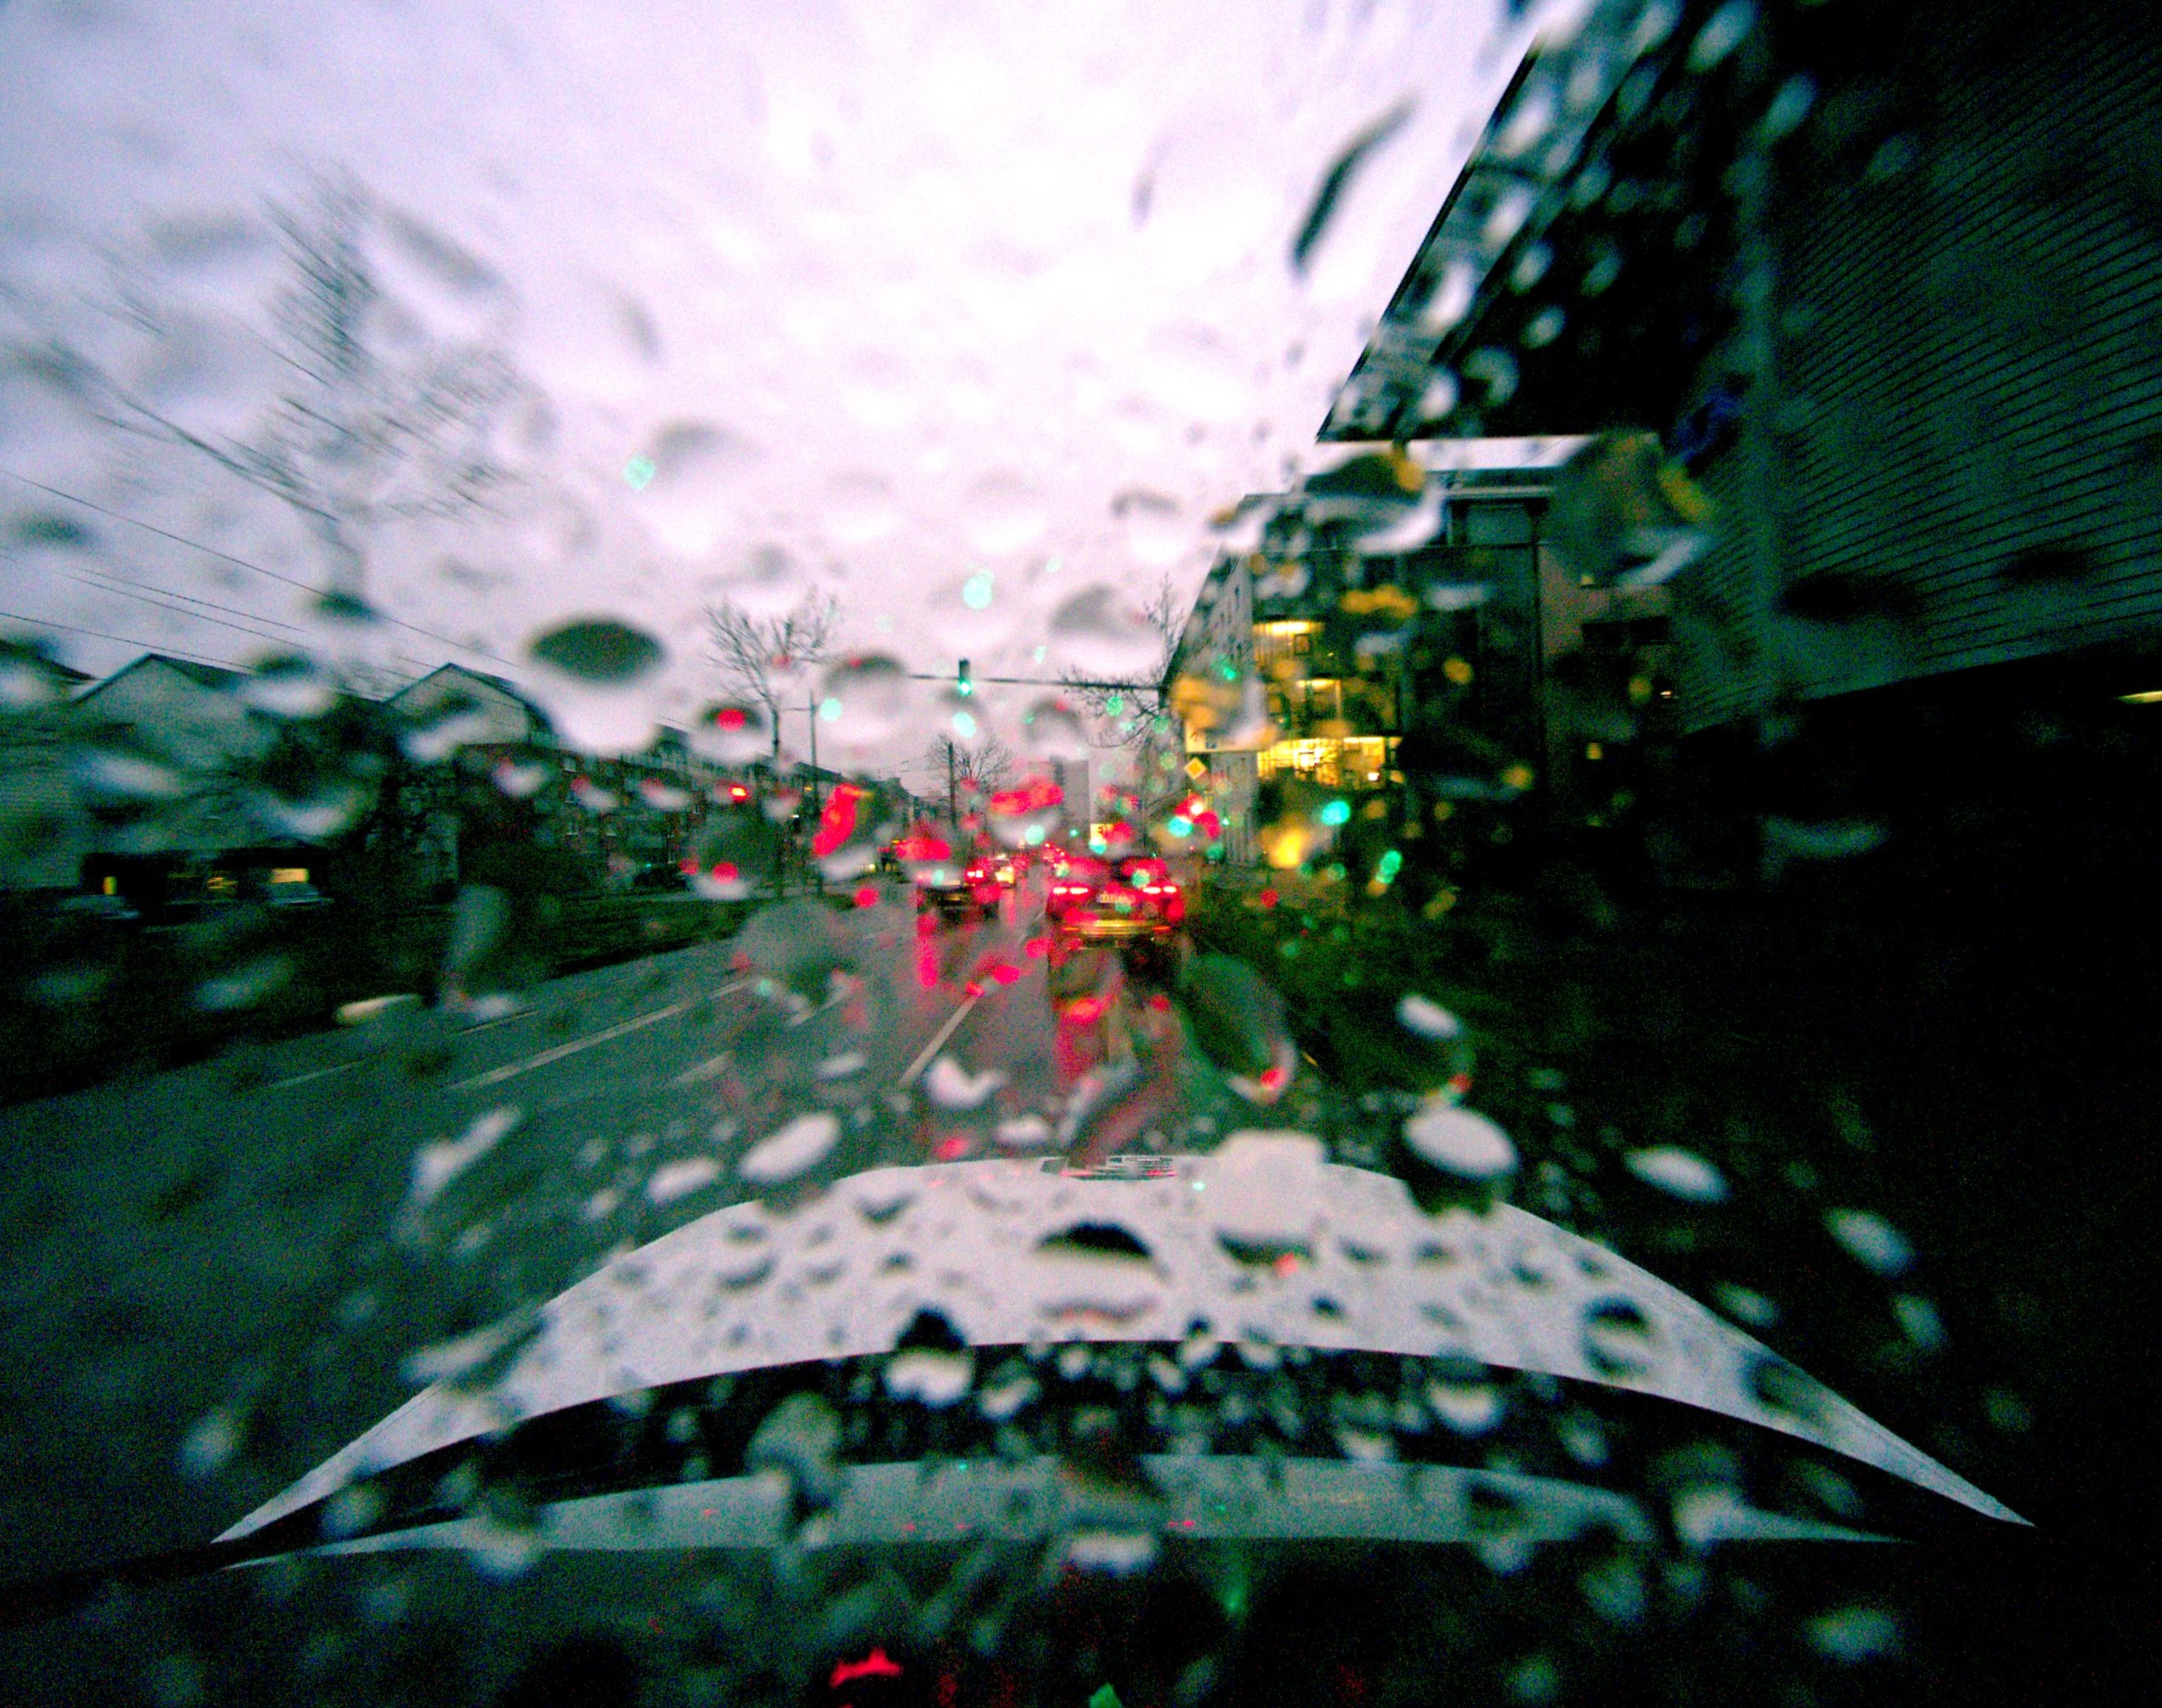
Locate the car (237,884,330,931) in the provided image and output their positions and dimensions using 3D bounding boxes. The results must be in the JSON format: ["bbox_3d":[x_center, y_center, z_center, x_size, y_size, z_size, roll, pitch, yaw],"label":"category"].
[{"bbox_3d":[-30.459,2.000,31.090,3.749,1.555,1.753,0,0,33],"label":"car"}]

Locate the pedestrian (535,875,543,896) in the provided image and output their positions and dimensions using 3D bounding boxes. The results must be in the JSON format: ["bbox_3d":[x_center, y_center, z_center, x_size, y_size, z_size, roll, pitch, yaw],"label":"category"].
[{"bbox_3d":[-31.608,1.838,47.509,0.348,1.184,0.429,0,0,-40],"label":"pedestrian"}]

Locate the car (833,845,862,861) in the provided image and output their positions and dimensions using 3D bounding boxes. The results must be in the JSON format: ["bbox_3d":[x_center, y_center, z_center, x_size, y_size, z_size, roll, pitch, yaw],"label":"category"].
[{"bbox_3d":[-20.100,-0.103,70.210,1.440,1.342,3.636,0,0,0],"label":"car"}]

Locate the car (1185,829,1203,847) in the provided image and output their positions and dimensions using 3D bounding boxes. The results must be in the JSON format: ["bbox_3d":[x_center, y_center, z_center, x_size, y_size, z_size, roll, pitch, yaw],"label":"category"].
[{"bbox_3d":[11.150,-1.580,80.381,1.619,1.759,3.427,0,0,5],"label":"car"}]

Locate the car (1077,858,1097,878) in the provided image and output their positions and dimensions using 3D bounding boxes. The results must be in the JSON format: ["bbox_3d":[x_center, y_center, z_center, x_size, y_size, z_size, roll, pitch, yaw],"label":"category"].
[{"bbox_3d":[0.532,1.239,72.931,1.568,1.705,3.706,0,0,4],"label":"car"}]

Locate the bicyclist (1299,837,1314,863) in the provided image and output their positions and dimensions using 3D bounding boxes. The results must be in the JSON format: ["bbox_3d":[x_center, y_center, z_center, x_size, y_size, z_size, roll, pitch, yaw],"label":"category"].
[{"bbox_3d":[11.675,-0.215,42.215,0.615,1.330,0.569,0,0,33],"label":"bicyclist"}]

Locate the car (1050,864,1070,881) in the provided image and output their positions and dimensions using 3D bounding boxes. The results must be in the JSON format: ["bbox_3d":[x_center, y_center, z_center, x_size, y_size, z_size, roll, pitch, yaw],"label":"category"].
[{"bbox_3d":[-1.870,1.668,74.148,1.552,1.460,3.115,0,0,4],"label":"car"}]

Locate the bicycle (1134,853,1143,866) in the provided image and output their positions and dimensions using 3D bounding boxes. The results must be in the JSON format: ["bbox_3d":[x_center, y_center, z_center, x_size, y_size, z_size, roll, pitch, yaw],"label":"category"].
[{"bbox_3d":[4.328,0.416,61.017,0.543,0.965,1.345,0,0,-2],"label":"bicycle"}]

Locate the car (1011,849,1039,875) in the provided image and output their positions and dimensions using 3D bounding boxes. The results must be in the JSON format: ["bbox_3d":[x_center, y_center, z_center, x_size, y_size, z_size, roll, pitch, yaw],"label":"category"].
[{"bbox_3d":[-3.970,0.559,58.152,1.656,1.759,3.569,0,0,2],"label":"car"}]

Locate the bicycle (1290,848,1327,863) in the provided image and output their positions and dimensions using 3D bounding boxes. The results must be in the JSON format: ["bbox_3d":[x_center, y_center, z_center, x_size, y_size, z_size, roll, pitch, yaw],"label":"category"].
[{"bbox_3d":[11.768,0.091,42.148,1.711,0.745,0.656,0,0,34],"label":"bicycle"}]

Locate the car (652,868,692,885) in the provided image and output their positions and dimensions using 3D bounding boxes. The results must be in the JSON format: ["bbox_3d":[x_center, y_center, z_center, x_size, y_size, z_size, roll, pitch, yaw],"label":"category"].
[{"bbox_3d":[-32.289,1.758,64.390,1.440,1.287,3.385,0,0,0],"label":"car"}]

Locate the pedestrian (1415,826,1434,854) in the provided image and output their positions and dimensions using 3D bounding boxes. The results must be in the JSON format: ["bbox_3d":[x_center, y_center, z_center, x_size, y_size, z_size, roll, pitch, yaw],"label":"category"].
[{"bbox_3d":[19.877,-0.806,47.136,0.804,1.654,0.727,0,0,2],"label":"pedestrian"}]

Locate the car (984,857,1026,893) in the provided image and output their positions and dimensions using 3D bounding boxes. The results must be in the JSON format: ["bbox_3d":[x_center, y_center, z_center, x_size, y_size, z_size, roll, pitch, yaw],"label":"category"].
[{"bbox_3d":[-3.661,0.992,39.674,1.684,1.635,3.473,0,0,0],"label":"car"}]

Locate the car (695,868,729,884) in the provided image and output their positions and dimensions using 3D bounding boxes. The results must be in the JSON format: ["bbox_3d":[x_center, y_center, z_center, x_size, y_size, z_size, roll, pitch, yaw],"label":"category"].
[{"bbox_3d":[-31.958,1.880,70.672,1.440,1.287,3.385,0,0,0],"label":"car"}]

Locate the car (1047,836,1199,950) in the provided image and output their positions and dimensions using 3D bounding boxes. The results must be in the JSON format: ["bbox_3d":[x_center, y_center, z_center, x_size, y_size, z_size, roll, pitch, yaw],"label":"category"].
[{"bbox_3d":[0.562,0.508,12.479,1.987,1.483,3.700,0,0,0],"label":"car"}]

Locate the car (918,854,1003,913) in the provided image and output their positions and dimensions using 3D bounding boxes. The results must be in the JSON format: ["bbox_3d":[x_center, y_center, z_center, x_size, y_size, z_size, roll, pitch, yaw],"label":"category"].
[{"bbox_3d":[-3.167,0.725,22.160,1.812,1.450,3.998,0,0,-2],"label":"car"}]

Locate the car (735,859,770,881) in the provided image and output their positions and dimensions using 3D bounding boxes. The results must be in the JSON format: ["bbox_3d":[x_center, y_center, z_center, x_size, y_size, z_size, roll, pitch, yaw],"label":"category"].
[{"bbox_3d":[-32.136,1.562,79.745,1.989,2.013,3.995,0,0,-3],"label":"car"}]

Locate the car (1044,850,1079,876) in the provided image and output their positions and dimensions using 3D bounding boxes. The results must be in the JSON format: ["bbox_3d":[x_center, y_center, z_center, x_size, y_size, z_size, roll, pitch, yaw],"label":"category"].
[{"bbox_3d":[-1.184,0.546,51.053,1.859,1.543,3.614,0,0,3],"label":"car"}]

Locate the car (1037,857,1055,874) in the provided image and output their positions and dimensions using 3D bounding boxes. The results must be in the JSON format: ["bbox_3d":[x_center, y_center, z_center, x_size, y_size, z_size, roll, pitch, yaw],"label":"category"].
[{"bbox_3d":[-4.422,1.434,103.300,1.986,2.013,4.002,0,0,2],"label":"car"}]

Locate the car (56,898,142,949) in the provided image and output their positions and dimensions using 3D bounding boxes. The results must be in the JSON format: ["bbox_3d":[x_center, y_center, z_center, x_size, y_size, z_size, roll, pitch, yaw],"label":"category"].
[{"bbox_3d":[-30.731,2.125,25.464,3.719,1.337,1.463,-1,0,36],"label":"car"}]
